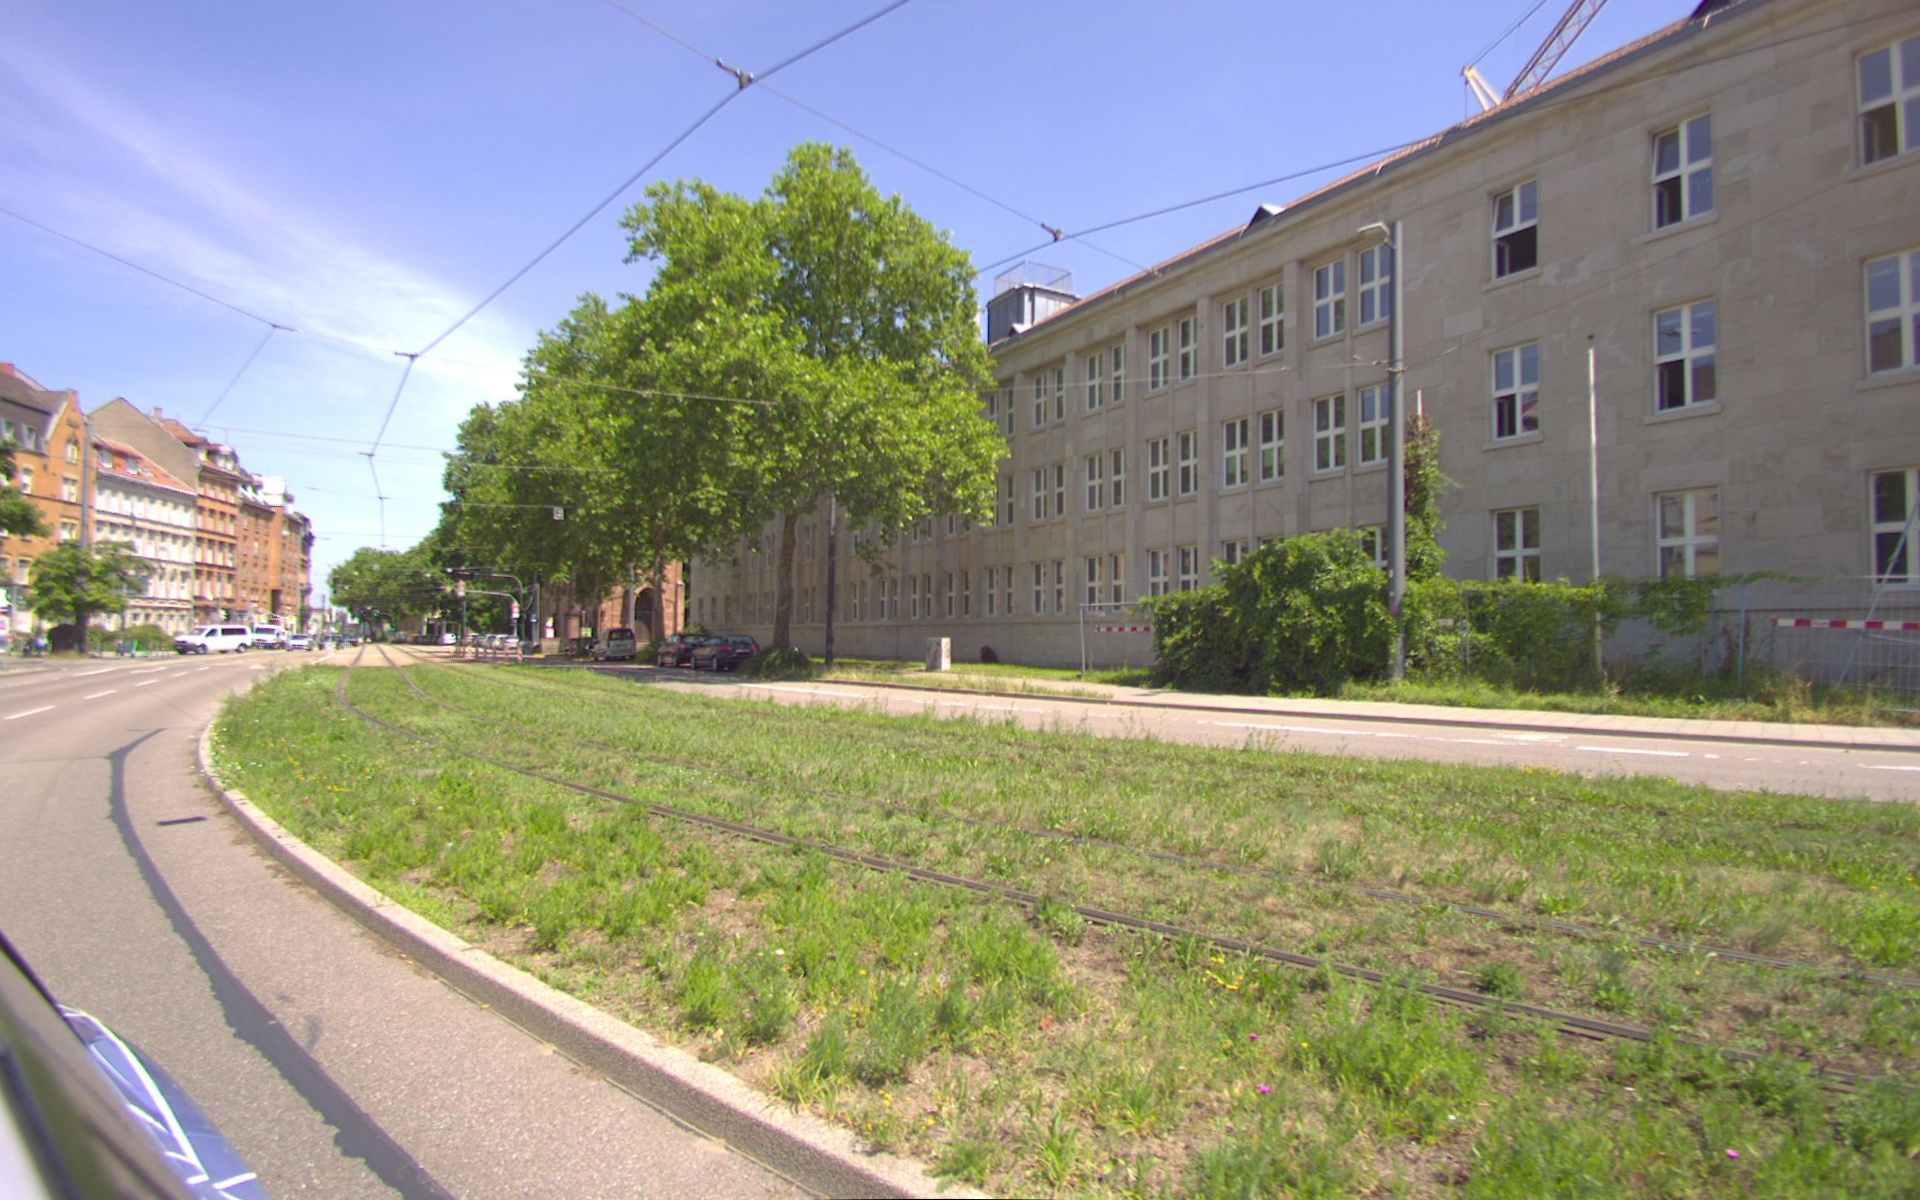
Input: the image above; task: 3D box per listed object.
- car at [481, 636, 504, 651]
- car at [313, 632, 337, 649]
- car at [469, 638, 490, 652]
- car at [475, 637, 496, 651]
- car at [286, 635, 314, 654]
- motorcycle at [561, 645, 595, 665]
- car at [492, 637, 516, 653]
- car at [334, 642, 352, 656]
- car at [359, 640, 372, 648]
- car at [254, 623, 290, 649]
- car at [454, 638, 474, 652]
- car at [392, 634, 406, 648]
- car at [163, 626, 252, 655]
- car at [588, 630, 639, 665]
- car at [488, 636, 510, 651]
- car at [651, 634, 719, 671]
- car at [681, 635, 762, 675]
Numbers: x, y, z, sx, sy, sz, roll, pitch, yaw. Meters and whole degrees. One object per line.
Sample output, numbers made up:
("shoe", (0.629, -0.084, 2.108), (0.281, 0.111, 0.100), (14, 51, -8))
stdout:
("car", (-48.902, 4.562, 105.856), (1.635, 1.470, 4.070), (0, -2, -32))
("car", (-62.772, 4.024, 100.076), (1.770, 1.586, 4.012), (0, -2, -29))
("car", (-54.719, 5.062, 115.255), (1.719, 1.535, 3.764), (0, -2, -32))
("car", (-51.948, 4.848, 110.761), (1.719, 1.470, 3.764), (0, -2, -32))
("car", (-56.860, 3.831, 87.226), (1.770, 1.586, 4.012), (0, -2, -29))
("motorcycle", (-22.415, 3.208, 59.383), (0.724, 1.076, 1.854), (-2, -1, 28))
("car", (-43.936, 4.332, 97.562), (1.635, 1.470, 4.233), (0, -2, -31))
("car", (-73.334, 5.799, 120.221), (1.771, 1.586, 4.011), (0, -2, -32))
("car", (-104.757, 7.757, 178.195), (1.722, 1.405, 4.358), (-1, -1, -34))
("car", (-67.177, 3.545, 98.942), (1.965, 2.348, 5.425), (4, -4, -26))
("car", (-63.980, 5.806, 130.464), (1.966, 1.731, 4.012), (0, -2, -31))
("car", (-95.522, 6.958, 172.168), (1.792, 2.314, 3.772), (1, -2, -33))
("car", (-52.989, 2.800, 71.392), (2.144, 1.953, 4.837), (-1, -2, 11))
("car", (-19.228, 2.590, 56.081), (1.966, 1.825, 4.314), (0, -2, -29))
("car", (-46.410, 4.388, 101.869), (1.635, 1.470, 4.070), (0, -2, -31))
("car", (-11.917, 2.241, 43.682), (1.738, 1.494, 4.336), (0, -2, -30))
("car", (-9.219, 2.088, 38.860), (1.566, 1.434, 4.334), (1, -2, -34))
